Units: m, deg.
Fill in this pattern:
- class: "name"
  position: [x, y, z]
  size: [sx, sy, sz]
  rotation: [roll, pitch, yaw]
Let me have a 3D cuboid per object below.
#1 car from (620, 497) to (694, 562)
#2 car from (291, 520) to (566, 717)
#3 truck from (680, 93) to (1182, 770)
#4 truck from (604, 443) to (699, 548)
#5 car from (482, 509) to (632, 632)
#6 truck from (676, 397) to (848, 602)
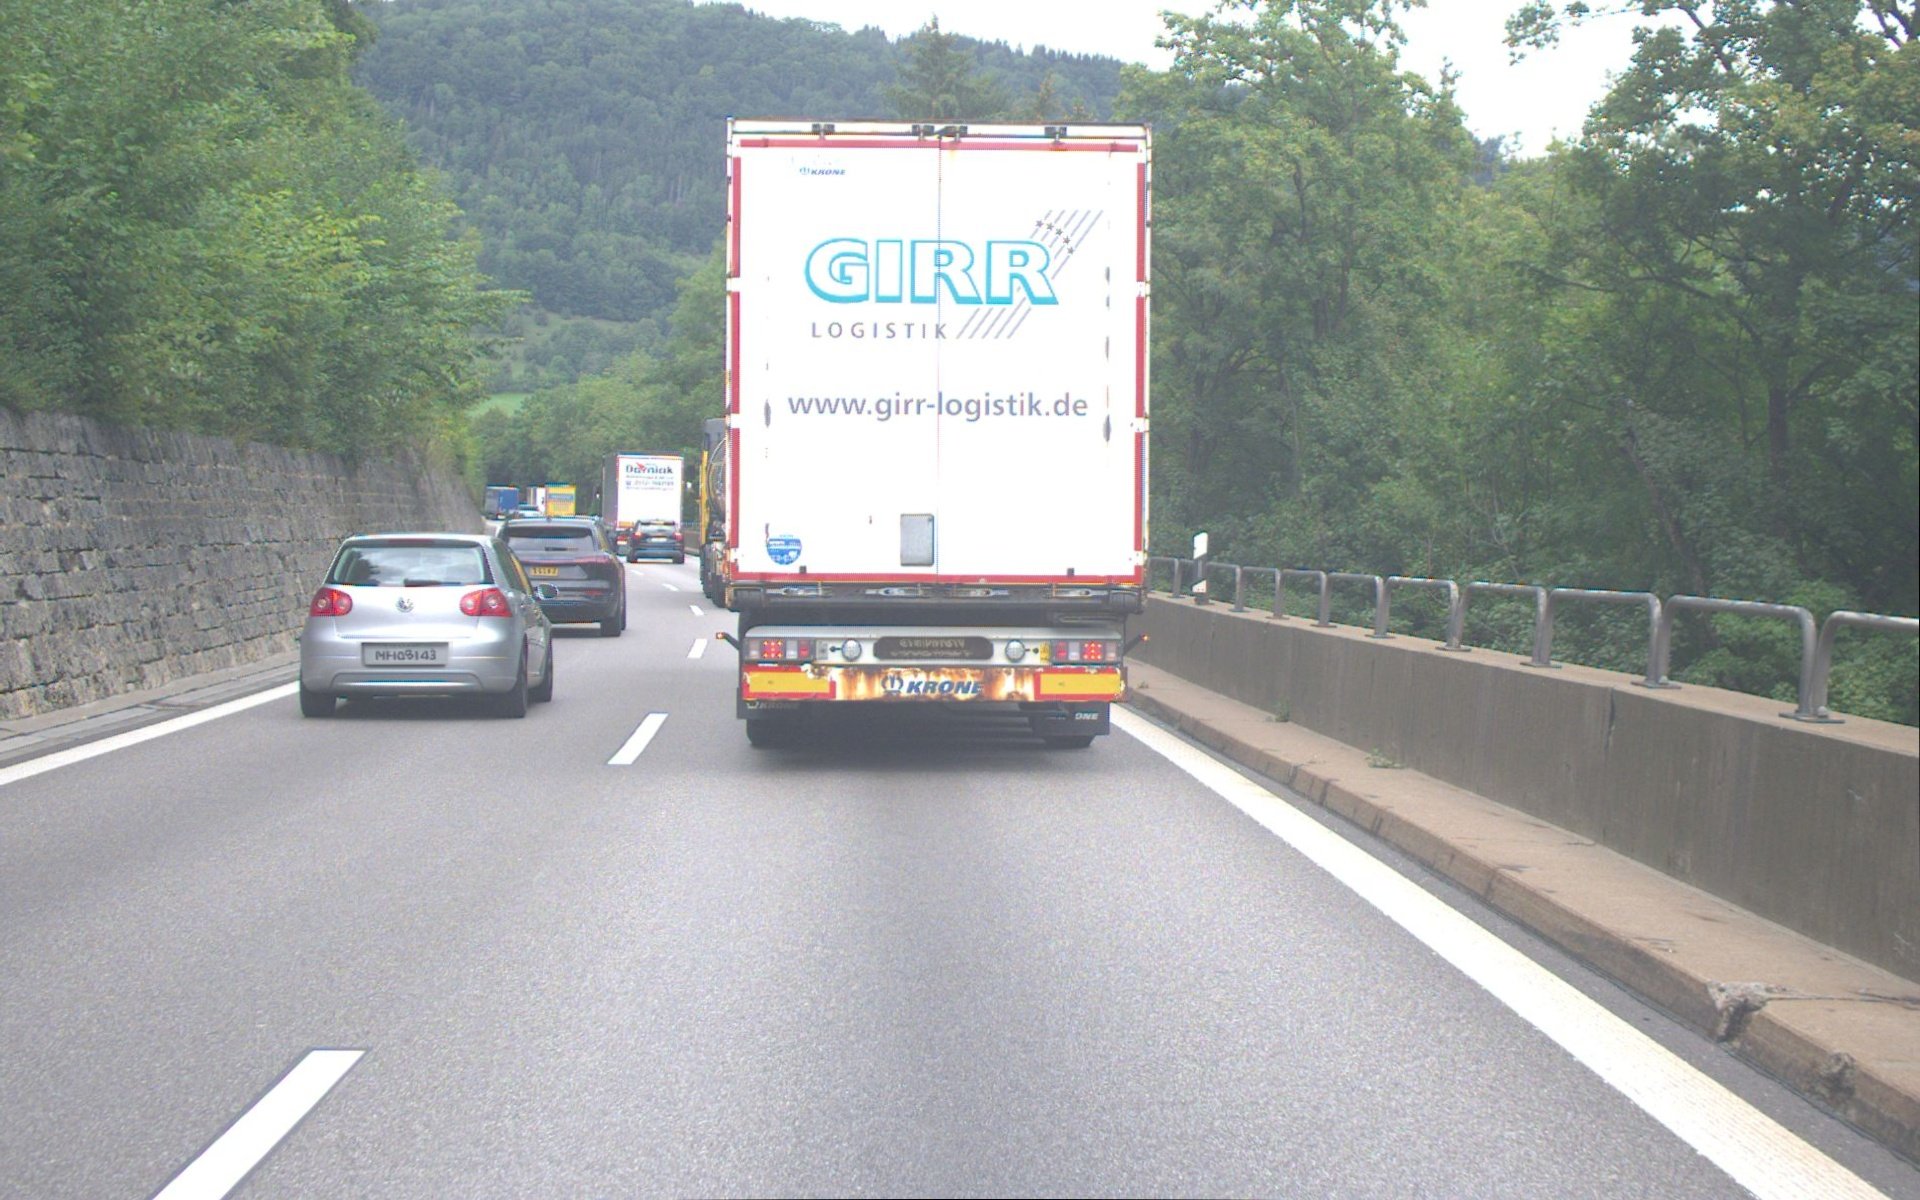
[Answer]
- class: "car"
  position: [-9.808, -2.260, 111.465]
  size: [1.993, 2.007, 4.000]
  rotation: [1, 0, 0]
- class: "car"
  position: [-4.267, 0.104, 28.132]
  size: [1.729, 1.481, 4.000]
  rotation: [1, 1, -2]
- class: "truck"
  position: [-0.294, -1.087, 24.906]
  size: [2.908, 3.947, 9.280]
  rotation: [1, 1, -2]
- class: "truck"
  position: [-12.265, -4.062, 136.599]
  size: [3.510, 3.834, 11.778]
  rotation: [1, 0, -5]
- class: "car"
  position: [-5.452, -0.418, 46.916]
  size: [1.916, 1.589, 4.180]
  rotation: [1, 1, -5]
- class: "truck"
  position: [-3.855, -1.849, 64.958]
  size: [2.485, 3.559, 9.311]
  rotation: [1, 1, -8]
